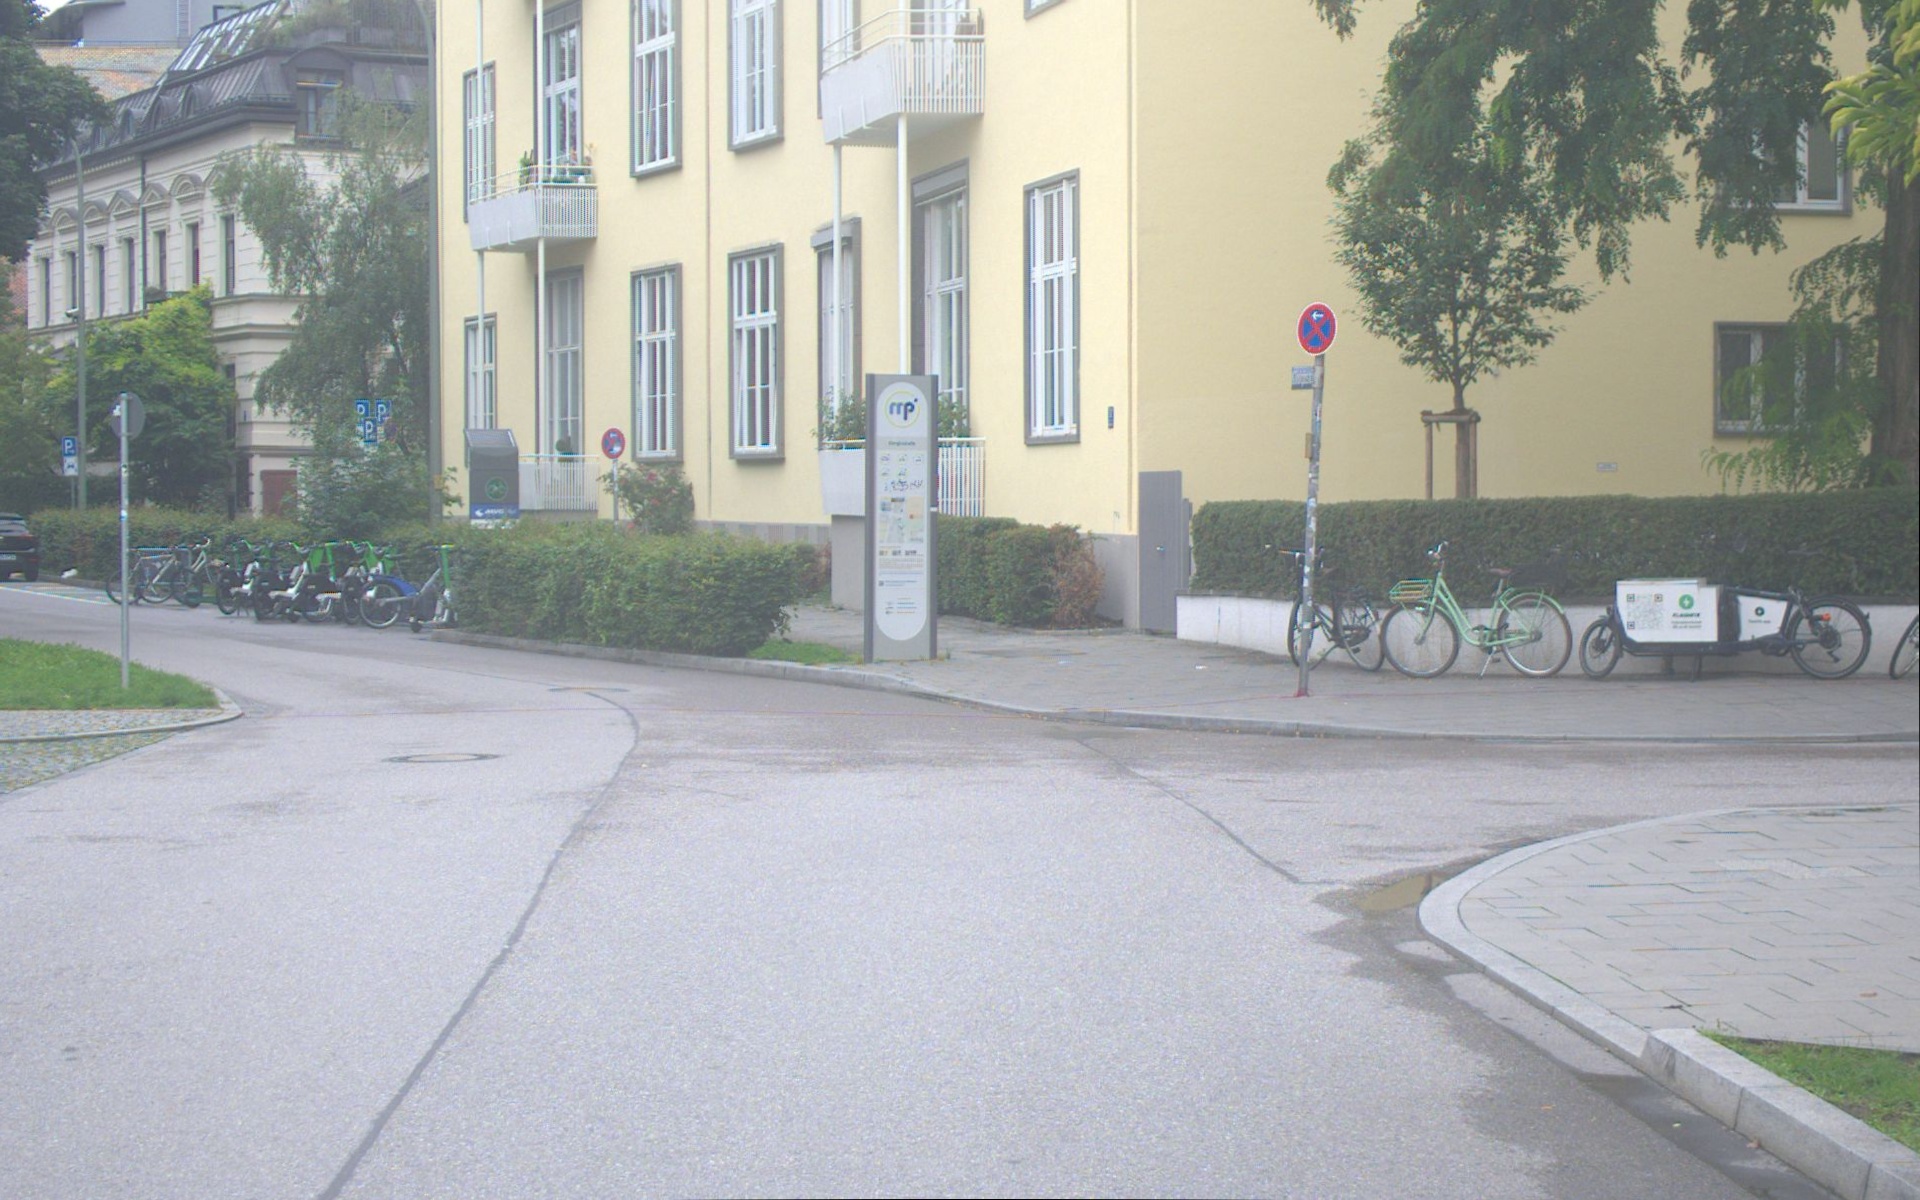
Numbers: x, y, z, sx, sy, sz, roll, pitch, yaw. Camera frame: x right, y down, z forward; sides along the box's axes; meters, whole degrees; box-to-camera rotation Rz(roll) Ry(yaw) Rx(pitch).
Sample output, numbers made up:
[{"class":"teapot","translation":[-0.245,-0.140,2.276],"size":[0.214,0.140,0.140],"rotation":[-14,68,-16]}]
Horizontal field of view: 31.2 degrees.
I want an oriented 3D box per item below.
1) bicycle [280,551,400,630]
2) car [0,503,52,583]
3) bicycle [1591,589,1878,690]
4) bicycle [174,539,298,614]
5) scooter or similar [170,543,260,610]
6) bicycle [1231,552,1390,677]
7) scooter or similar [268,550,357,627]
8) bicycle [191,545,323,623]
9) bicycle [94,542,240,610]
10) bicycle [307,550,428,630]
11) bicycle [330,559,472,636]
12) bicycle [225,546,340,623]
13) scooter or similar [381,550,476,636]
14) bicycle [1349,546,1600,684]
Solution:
[{"class":"bicycle","translation":[-9.027,-0.149,50.113],"size":[0.576,1.082,1.930],"rotation":[0,2,31]},{"class":"car","translation":[-20.472,-1.218,72.575],"size":[1.863,1.628,4.284],"rotation":[-1,2,-23]},{"class":"bicycle","translation":[6.271,0.309,27.857],"size":[2.212,0.776,0.609],"rotation":[0,1,20]},{"class":"bicycle","translation":[-11.216,-0.371,53.332],"size":[0.763,1.082,2.138],"rotation":[0,2,23]},{"class":"scooter or similar","translation":[-12.432,-0.393,57.403],"size":[1.405,1.084,0.597],"rotation":[-1,2,-8]},{"class":"bicycle","translation":[3.182,0.111,31.411],"size":[0.608,1.069,2.218],"rotation":[-2,2,-17]},{"class":"scooter or similar","translation":[-9.497,-0.180,50.475],"size":[0.496,1.084,1.408],"rotation":[0,2,27]},{"class":"bicycle","translation":[-10.520,-0.251,51.557],"size":[0.696,1.082,2.336],"rotation":[0,2,23]},{"class":"bicycle","translation":[-13.625,-0.421,59.093],"size":[2.331,1.082,0.693],"rotation":[-2,2,-31]},{"class":"bicycle","translation":[-8.531,-0.155,49.546],"size":[0.576,1.082,1.930],"rotation":[0,2,31]},{"class":"bicycle","translation":[-7.697,-0.040,47.341],"size":[1.823,1.002,0.577],"rotation":[-2,2,-28]},{"class":"bicycle","translation":[-10.005,-0.238,50.823],"size":[0.638,1.082,1.983],"rotation":[0,2,23]},{"class":"scooter or similar","translation":[-7.111,-0.097,46.042],"size":[0.496,1.105,1.408],"rotation":[0,2,27]},{"class":"bicycle","translation":[4.343,0.110,29.161],"size":[0.608,1.113,2.216],"rotation":[-1,2,-42]}]
